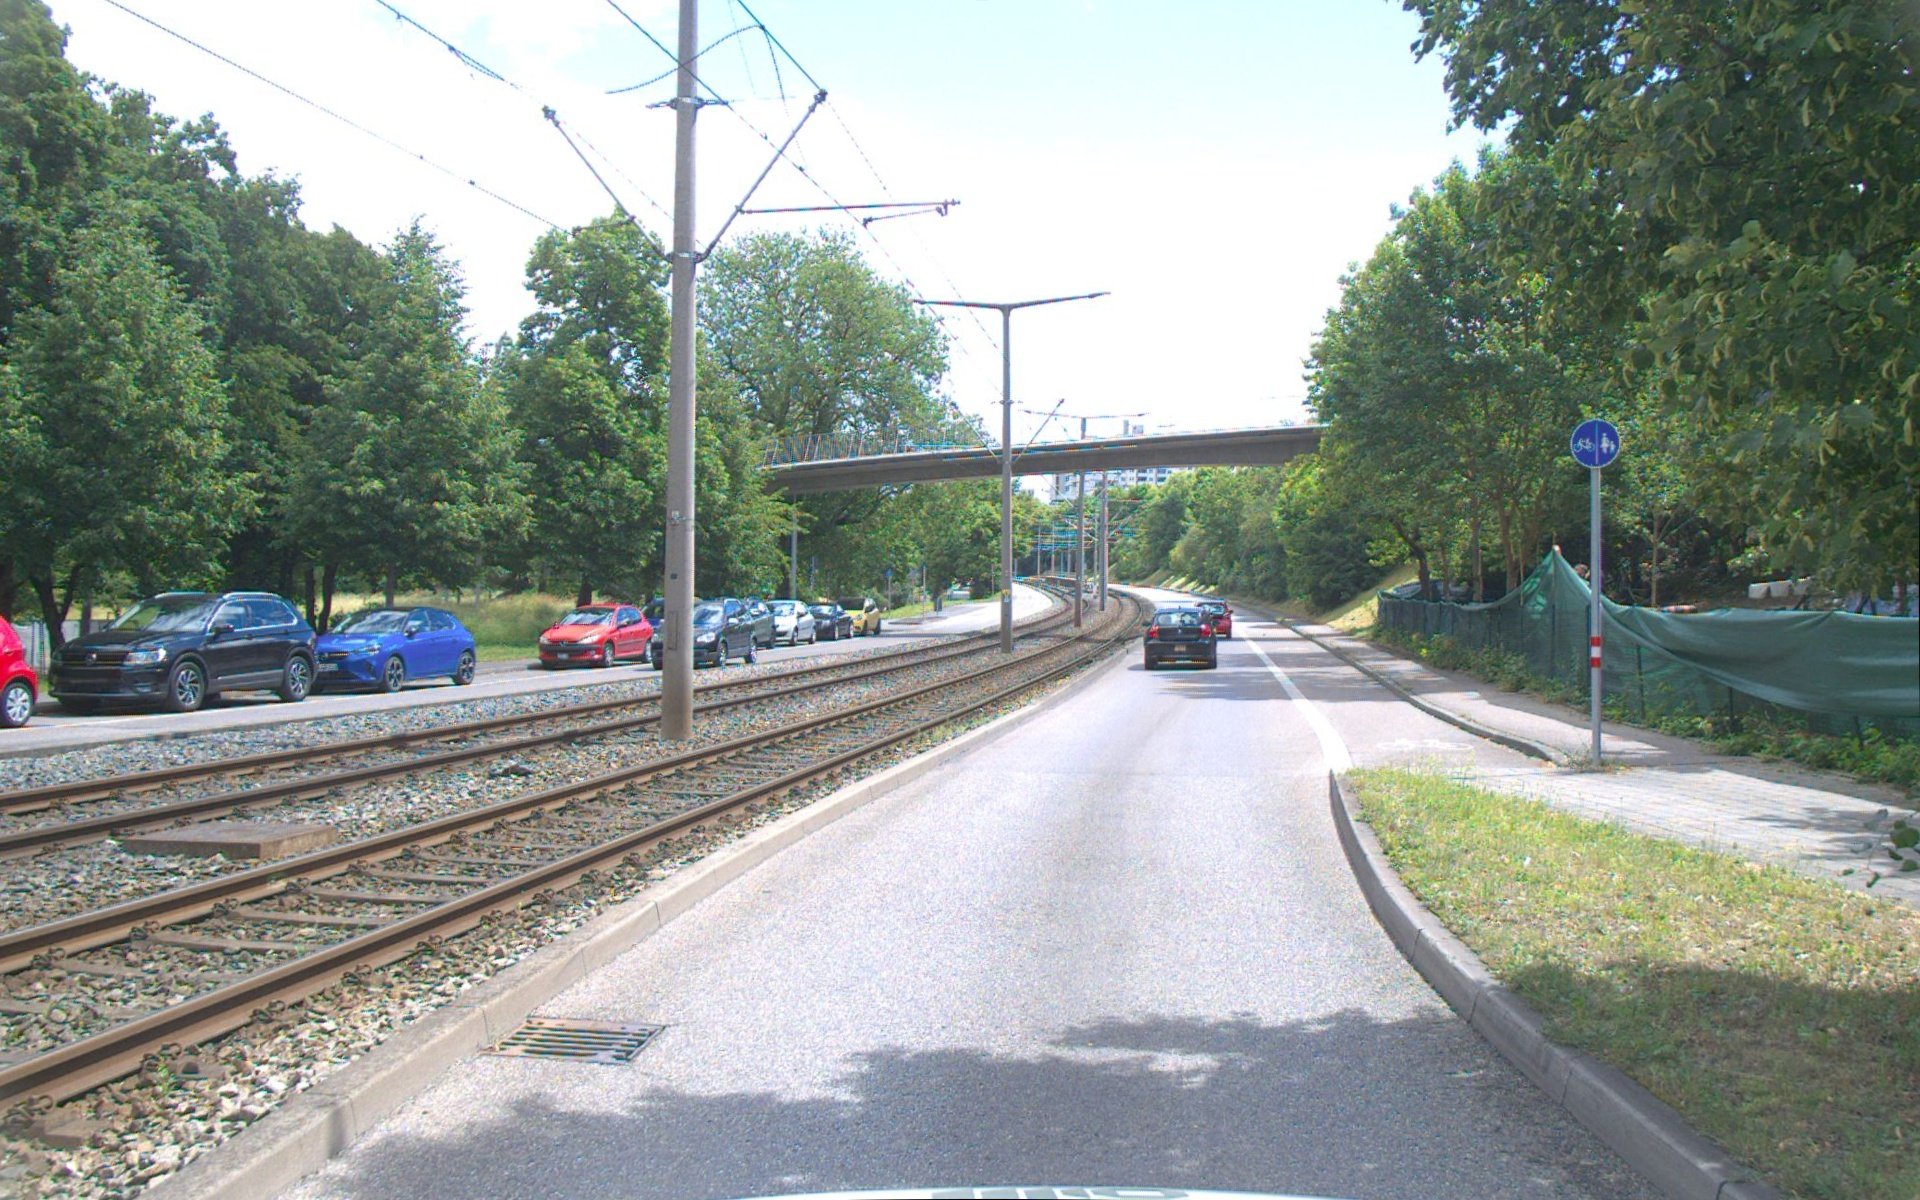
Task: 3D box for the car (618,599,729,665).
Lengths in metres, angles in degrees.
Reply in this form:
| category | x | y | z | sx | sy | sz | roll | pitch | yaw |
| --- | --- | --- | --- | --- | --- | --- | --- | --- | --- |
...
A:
| category | x | y | z | sx | sy | sz | roll | pitch | yaw |
| --- | --- | --- | --- | --- | --- | --- | --- | --- | --- |
| car | -7.553 | 0.875 | 44.015 | 1.524 | 1.624 | 4.163 | 2 | -1 | 10 |

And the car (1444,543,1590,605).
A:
| category | x | y | z | sx | sy | sz | roll | pitch | yaw |
| --- | --- | --- | --- | --- | --- | --- | --- | --- | --- |
| car | 18.879 | -0.865 | 56.256 | 4.428 | 1.701 | 2.001 | -4 | -3 | 12 |

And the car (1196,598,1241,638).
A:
| category | x | y | z | sx | sy | sz | roll | pitch | yaw |
| --- | --- | --- | --- | --- | --- | --- | --- | --- | --- |
| car | 10.067 | 0.723 | 64.328 | 1.589 | 1.469 | 3.424 | 2 | -1 | 10 |

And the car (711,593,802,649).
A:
| category | x | y | z | sx | sy | sz | roll | pitch | yaw |
| --- | --- | --- | --- | --- | --- | --- | --- | --- | --- |
| car | -6.191 | 0.632 | 50.790 | 1.607 | 1.651 | 4.129 | 0 | -1 | 10 |

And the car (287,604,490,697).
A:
| category | x | y | z | sx | sy | sz | roll | pitch | yaw |
| --- | --- | --- | --- | --- | --- | --- | --- | --- | --- |
| car | -10.001 | 0.890 | 29.275 | 1.578 | 1.486 | 4.010 | 2 | -1 | 10 |

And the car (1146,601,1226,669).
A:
| category | x | y | z | sx | sy | sz | roll | pitch | yaw |
| --- | --- | --- | --- | --- | --- | --- | --- | --- | --- |
| car | 5.449 | 0.794 | 39.544 | 1.672 | 1.485 | 3.963 | 2 | 0 | 11 |

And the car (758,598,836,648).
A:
| category | x | y | z | sx | sy | sz | roll | pitch | yaw |
| --- | --- | --- | --- | --- | --- | --- | --- | --- | --- |
| car | -5.379 | 0.807 | 55.022 | 1.559 | 1.520 | 4.195 | 2 | -2 | 8 |

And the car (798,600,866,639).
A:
| category | x | y | z | sx | sy | sz | roll | pitch | yaw |
| --- | --- | --- | --- | --- | --- | --- | --- | --- | --- |
| car | -4.628 | 0.713 | 60.386 | 1.479 | 1.384 | 4.132 | 0 | -1 | 10 |

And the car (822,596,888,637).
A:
| category | x | y | z | sx | sy | sz | roll | pitch | yaw |
| --- | --- | --- | --- | --- | --- | --- | --- | --- | --- |
| car | -4.122 | 0.678 | 65.550 | 1.653 | 1.476 | 3.901 | 2 | -1 | 10 |

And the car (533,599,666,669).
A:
| category | x | y | z | sx | sy | sz | roll | pitch | yaw |
| --- | --- | --- | --- | --- | --- | --- | --- | --- | --- |
| car | -8.449 | 0.818 | 39.134 | 1.578 | 1.520 | 4.050 | 2 | -1 | 10 |

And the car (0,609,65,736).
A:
| category | x | y | z | sx | sy | sz | roll | pitch | yaw |
| --- | --- | --- | --- | --- | --- | --- | --- | --- | --- |
| car | -12.045 | 0.795 | 18.578 | 1.579 | 1.477 | 3.664 | 2 | -1 | 8 |

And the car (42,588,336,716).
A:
| category | x | y | z | sx | sy | sz | roll | pitch | yaw |
| --- | --- | --- | --- | --- | --- | --- | --- | --- | --- |
| car | -10.964 | 0.742 | 23.914 | 1.546 | 1.633 | 4.378 | 2 | -1 | 10 |

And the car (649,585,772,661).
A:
| category | x | y | z | sx | sy | sz | roll | pitch | yaw |
| --- | --- | --- | --- | --- | --- | --- | --- | --- | --- |
| car | -5.673 | 0.556 | 38.069 | 1.579 | 1.601 | 4.003 | 2 | -1 | 10 |
